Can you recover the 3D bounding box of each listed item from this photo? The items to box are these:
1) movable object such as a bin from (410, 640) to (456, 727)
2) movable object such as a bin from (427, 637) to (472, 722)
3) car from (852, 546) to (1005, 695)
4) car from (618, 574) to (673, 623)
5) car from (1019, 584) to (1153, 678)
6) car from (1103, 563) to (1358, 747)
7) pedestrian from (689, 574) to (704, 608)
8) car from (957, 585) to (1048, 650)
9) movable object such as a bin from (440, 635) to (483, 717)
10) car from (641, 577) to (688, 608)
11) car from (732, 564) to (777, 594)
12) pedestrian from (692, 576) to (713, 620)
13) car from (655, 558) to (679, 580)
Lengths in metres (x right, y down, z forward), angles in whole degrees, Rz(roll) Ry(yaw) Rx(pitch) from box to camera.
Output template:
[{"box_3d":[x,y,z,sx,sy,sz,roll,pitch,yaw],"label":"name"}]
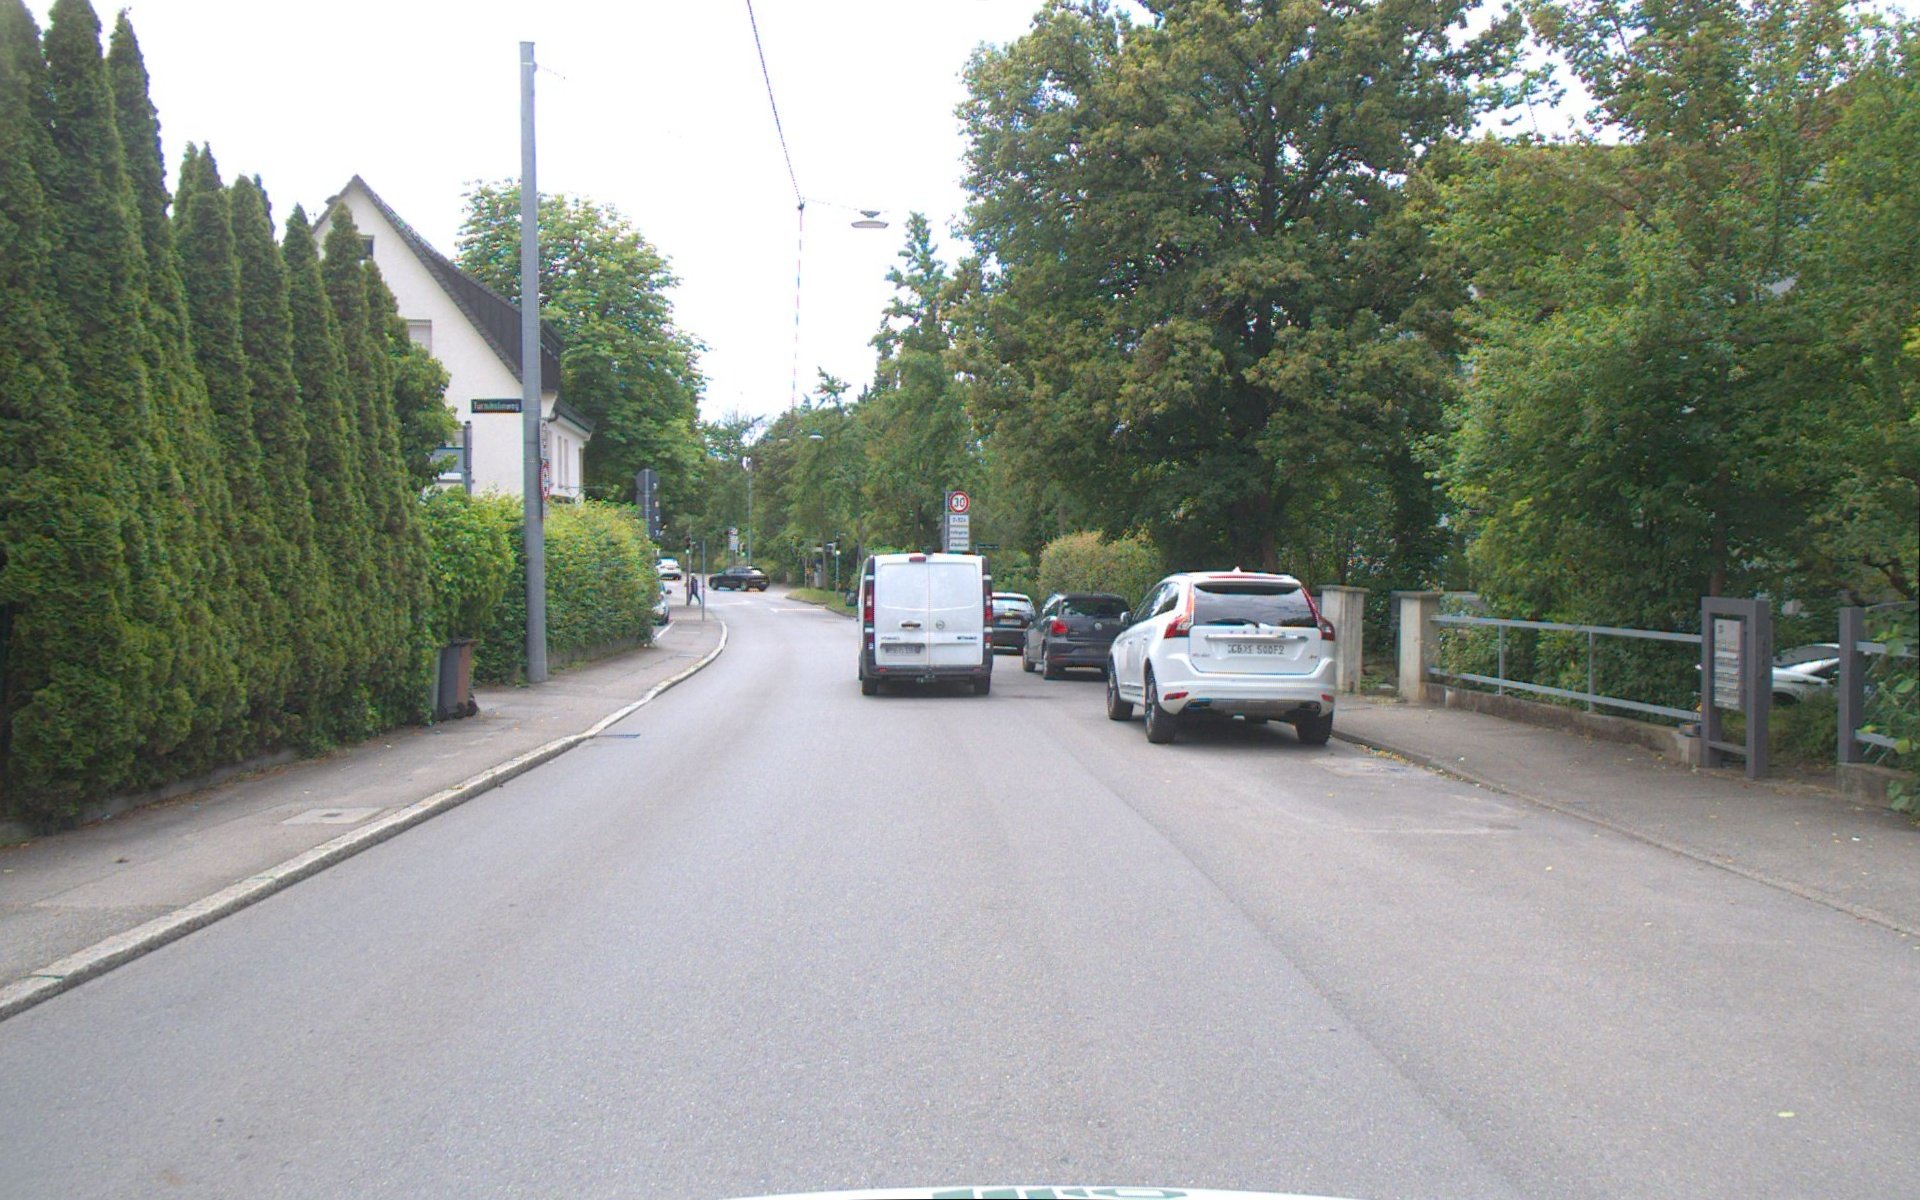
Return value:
[{"box_3d":[-5.699,0.898,17.897,0.329,0.909,0.476,1,0,0],"label":"movable object such as a bin"},{"box_3d":[-5.688,0.880,18.433,0.329,0.909,0.476,1,0,0],"label":"movable object such as a bin"},{"box_3d":[-0.564,0.228,24.537,1.893,1.998,4.397,1,1,-6],"label":"car"},{"box_3d":[-10.713,-0.063,56.507,1.558,1.565,2.919,2,1,-7],"label":"car"},{"box_3d":[2.124,0.487,28.791,1.676,1.513,3.786,1,0,-6],"label":"car"},{"box_3d":[2.737,0.496,17.738,1.828,1.714,4.348,1,0,-3],"label":"car"},{"box_3d":[-13.114,-0.437,82.299,0.684,1.644,0.714,0,2,-7],"label":"pedestrian"},{"box_3d":[0.980,0.390,39.953,1.677,1.437,3.786,2,0,-6],"label":"car"},{"box_3d":[-5.738,0.868,19.046,0.329,0.909,0.476,1,0,0],"label":"movable object such as a bin"},{"box_3d":[-14.485,-0.385,81.233,1.744,1.466,4.522,2,1,-4],"label":"car"},{"box_3d":[-13.752,-1.400,110.303,1.871,1.892,4.374,0,1,-23],"label":"car"},{"box_3d":[-9.633,-0.081,61.933,0.692,1.638,0.576,-1,0,-2],"label":"pedestrian"},{"box_3d":[-23.948,-2.556,135.230,1.791,1.758,3.992,0,1,-9],"label":"car"}]
